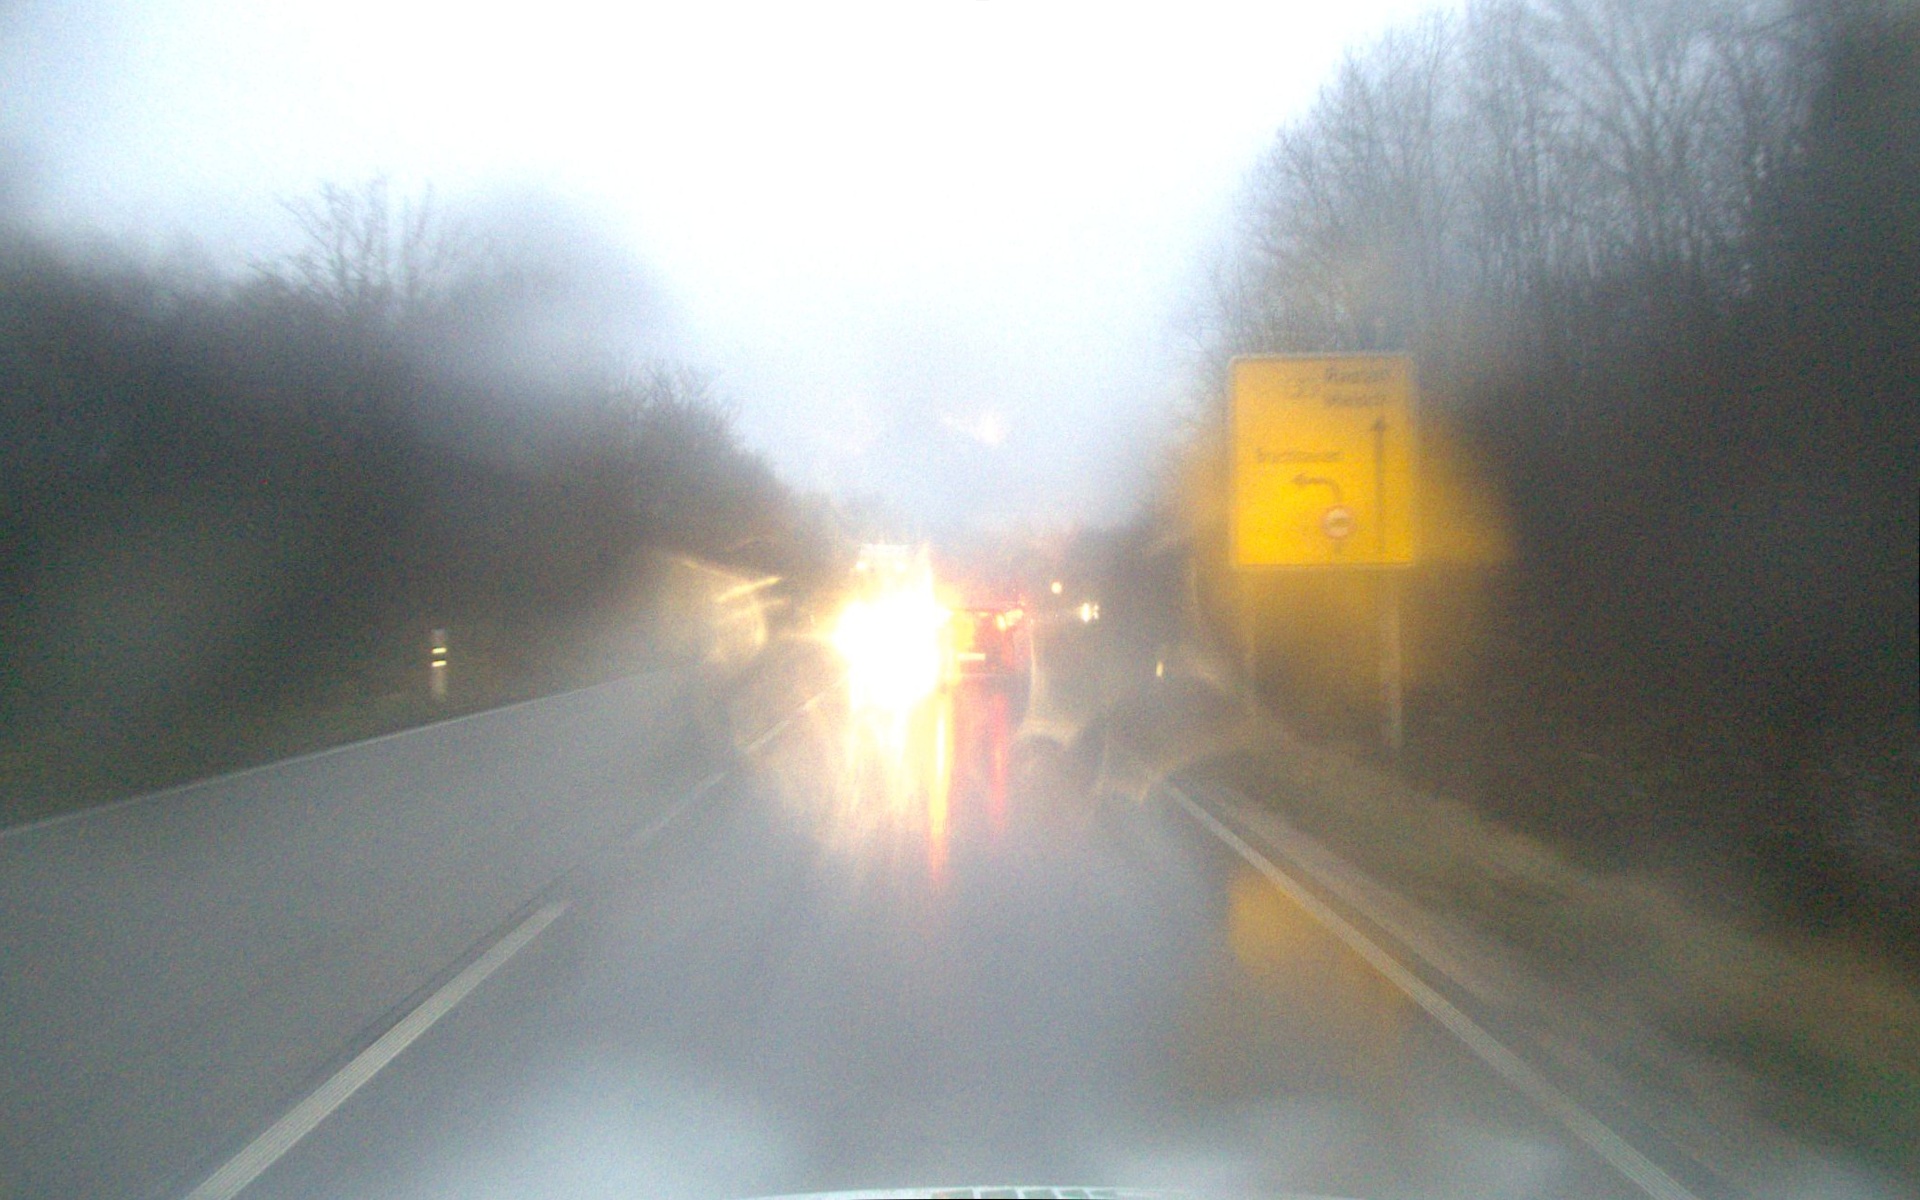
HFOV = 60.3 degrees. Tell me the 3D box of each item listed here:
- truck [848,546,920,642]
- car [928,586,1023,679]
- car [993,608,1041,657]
[{"bbox_3d":[-3.409,-0.269,76.187,2.741,4.199,7.201,0,0,2],"label":"truck"},{"bbox_3d":[0.245,0.576,31.774,1.692,1.672,3.999,0,0,-1],"label":"car"},{"bbox_3d":[2.553,1.422,73.603,1.951,2.049,4.002,0,0,4],"label":"car"}]
